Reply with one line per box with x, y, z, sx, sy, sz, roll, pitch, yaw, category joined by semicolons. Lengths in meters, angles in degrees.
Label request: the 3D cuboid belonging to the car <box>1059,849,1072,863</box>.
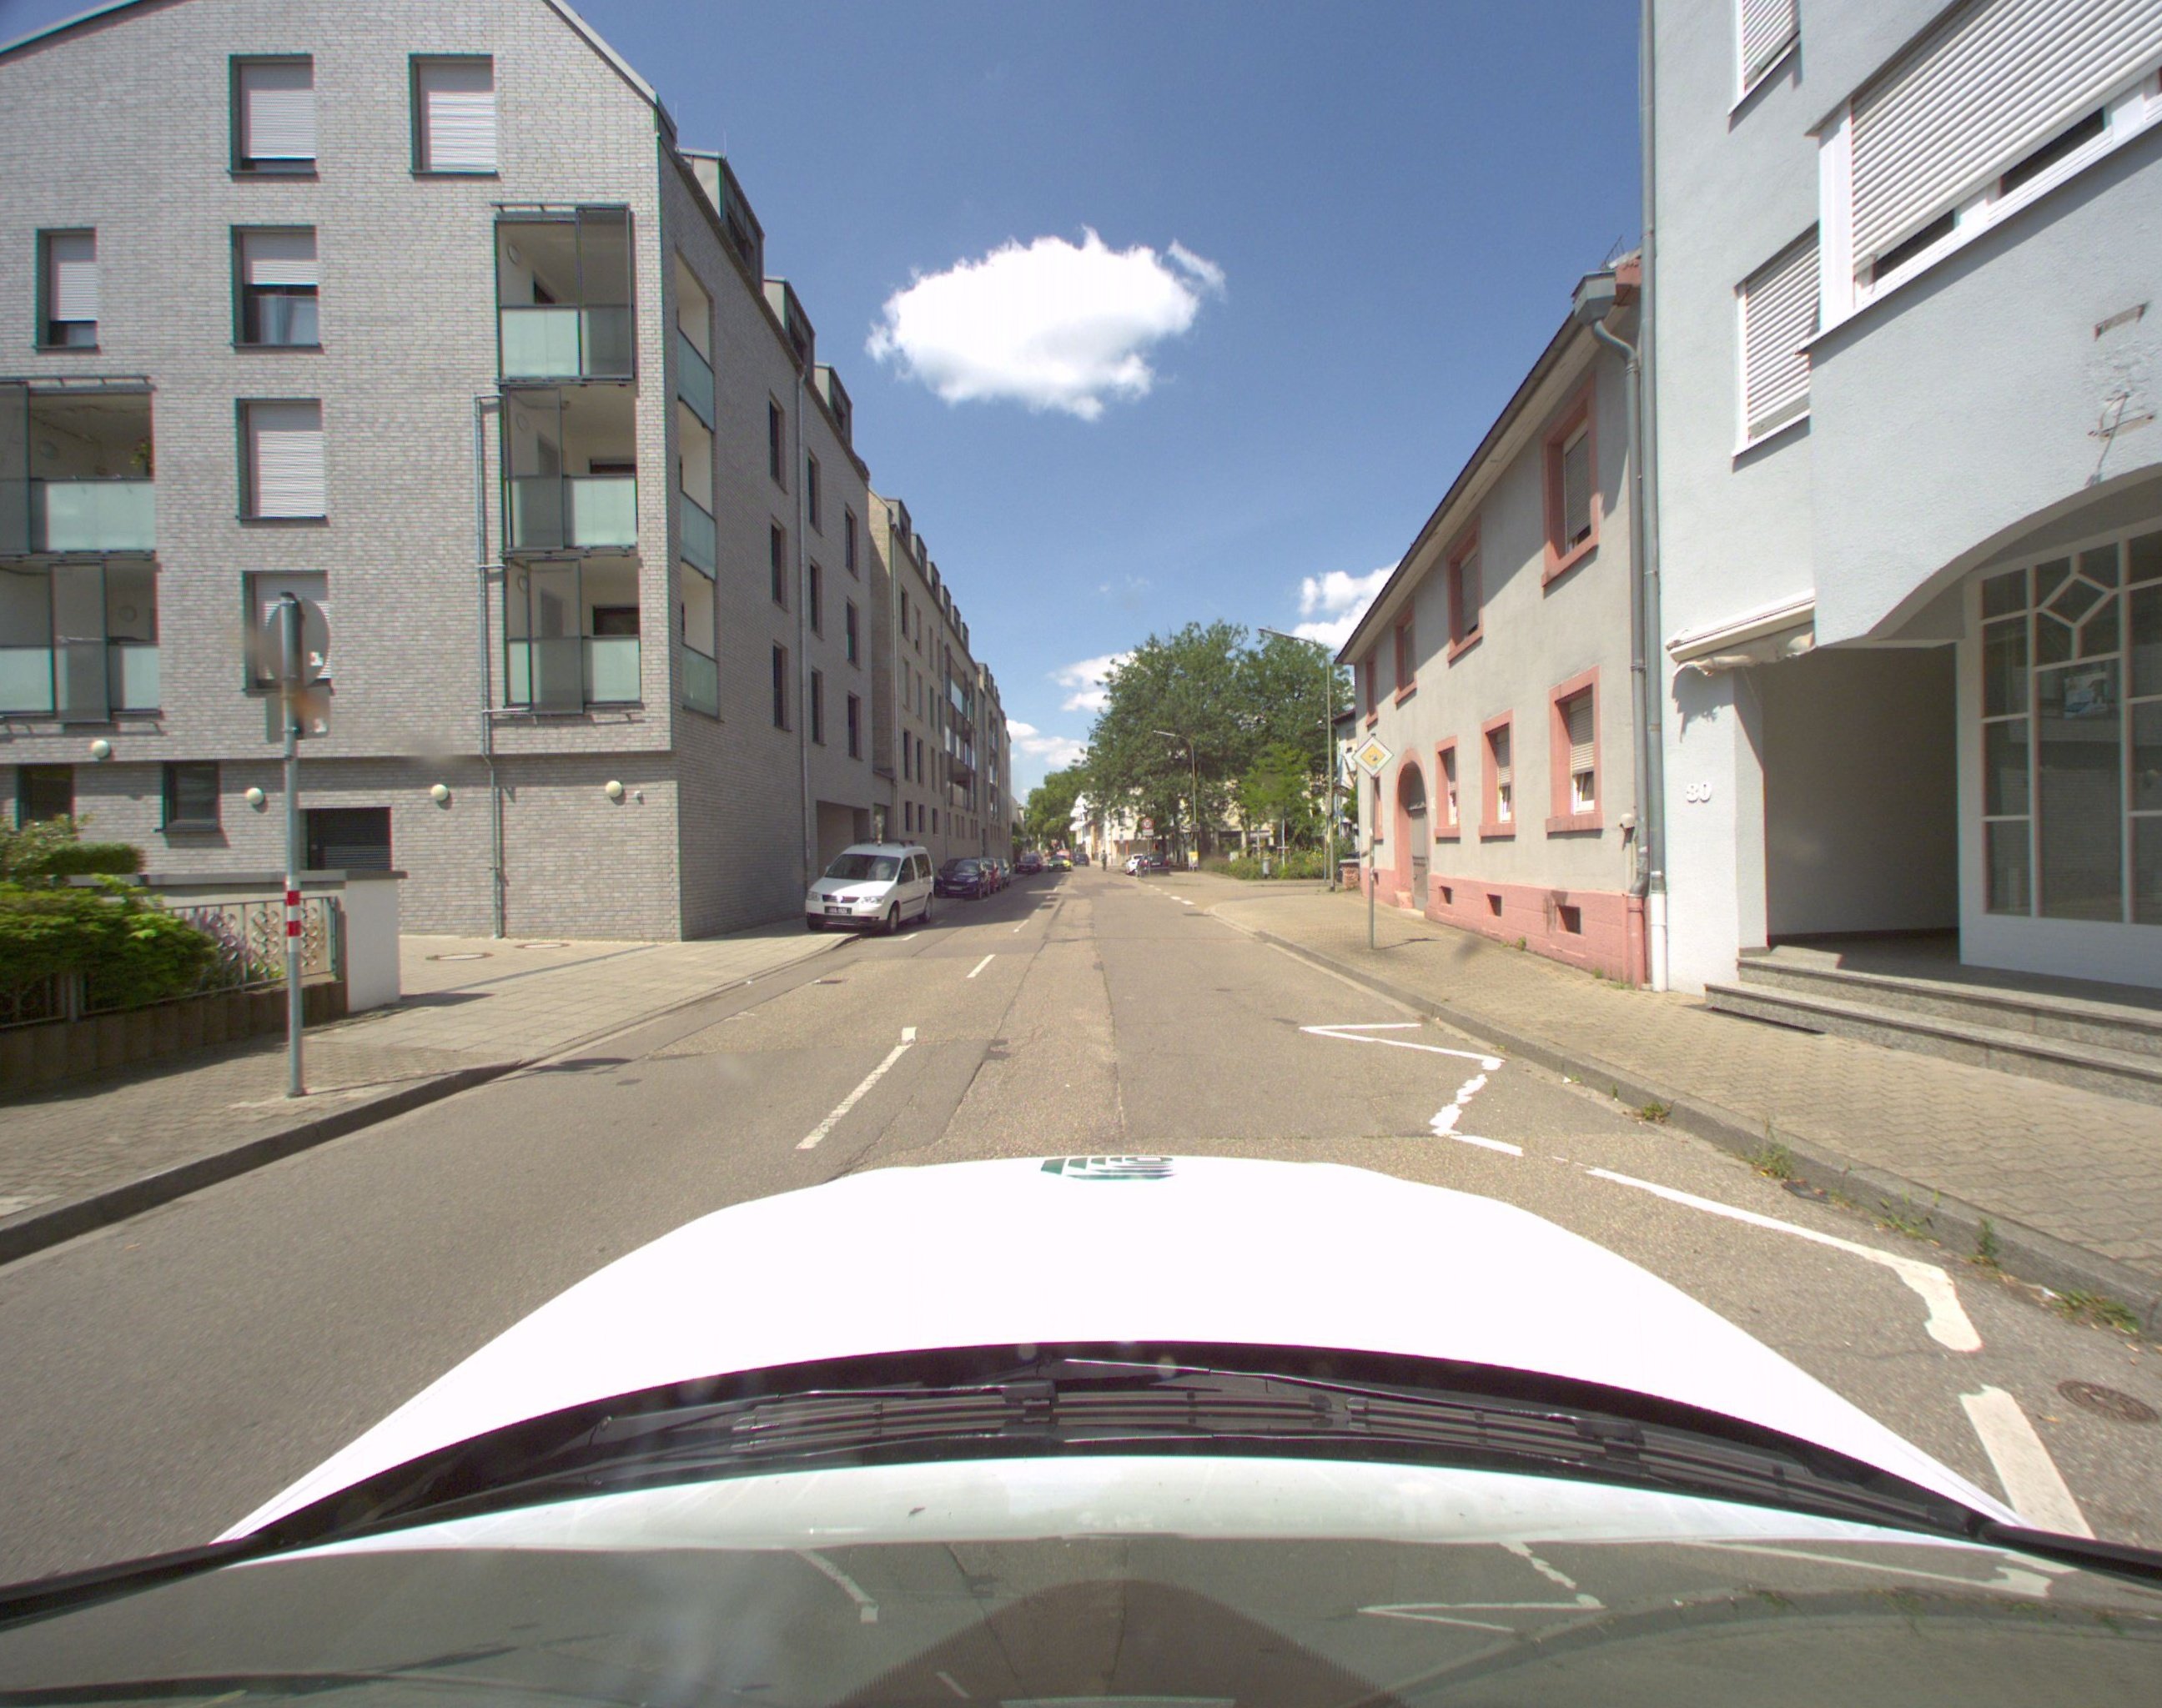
-2.371;0.248;123.819;1.833;2.013;4.000;-1;0;0;car

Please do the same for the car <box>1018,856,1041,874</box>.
-4.431;0.911;70.608;1.727;1.442;3.999;-1;0;-1;car

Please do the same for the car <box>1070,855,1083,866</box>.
-0.665;1.052;131.100;1.988;1.618;3.997;-1;0;-2;car

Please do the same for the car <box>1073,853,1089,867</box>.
0.046;0.682;92.506;1.710;1.402;4.000;-1;0;0;car

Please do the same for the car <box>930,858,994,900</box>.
-4.373;0.874;30.491;1.717;1.456;4.006;0;0;1;car

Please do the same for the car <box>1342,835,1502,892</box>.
10.611;0.310;25.578;4.250;1.530;1.743;-3;-2;3;car

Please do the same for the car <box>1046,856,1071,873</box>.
-1.902;0.879;69.678;1.986;1.381;4.393;1;0;1;car

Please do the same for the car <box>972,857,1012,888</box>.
-4.394;0.876;40.605;1.586;1.456;3.702;0;0;-1;car

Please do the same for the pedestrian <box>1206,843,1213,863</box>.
11.518;-0.092;73.092;0.591;1.859;0.606;-2;0;12;pedestrian

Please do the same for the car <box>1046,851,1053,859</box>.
-9.011;0.262;233.002;2.151;2.013;3.998;-1;0;-1;car

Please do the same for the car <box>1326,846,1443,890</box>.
10.940;0.502;29.490;3.587;1.449;1.741;-1;0;-1;car

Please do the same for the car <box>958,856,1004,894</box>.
-4.295;0.858;35.372;1.586;1.554;3.570;-1;0;-1;car

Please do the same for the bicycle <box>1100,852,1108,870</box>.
1.935;0.590;68.509;0.477;1.490;0.574;-1;0;-10;bicycle

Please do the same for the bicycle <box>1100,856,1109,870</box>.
1.944;0.748;68.486;0.483;1.114;1.191;-1;0;-11;bicycle

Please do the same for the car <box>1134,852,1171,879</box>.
4.210;0.650;48.307;1.687;1.420;3.998;-4;0;-1;car

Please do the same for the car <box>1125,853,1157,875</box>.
3.999;0.669;54.994;1.774;1.420;3.998;-1;0;-1;car

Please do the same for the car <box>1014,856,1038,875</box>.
-4.398;0.940;65.535;1.727;1.442;3.999;-1;0;-1;car

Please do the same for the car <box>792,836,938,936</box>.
-4.544;0.597;17.837;1.749;1.892;4.341;1;0;4;car
